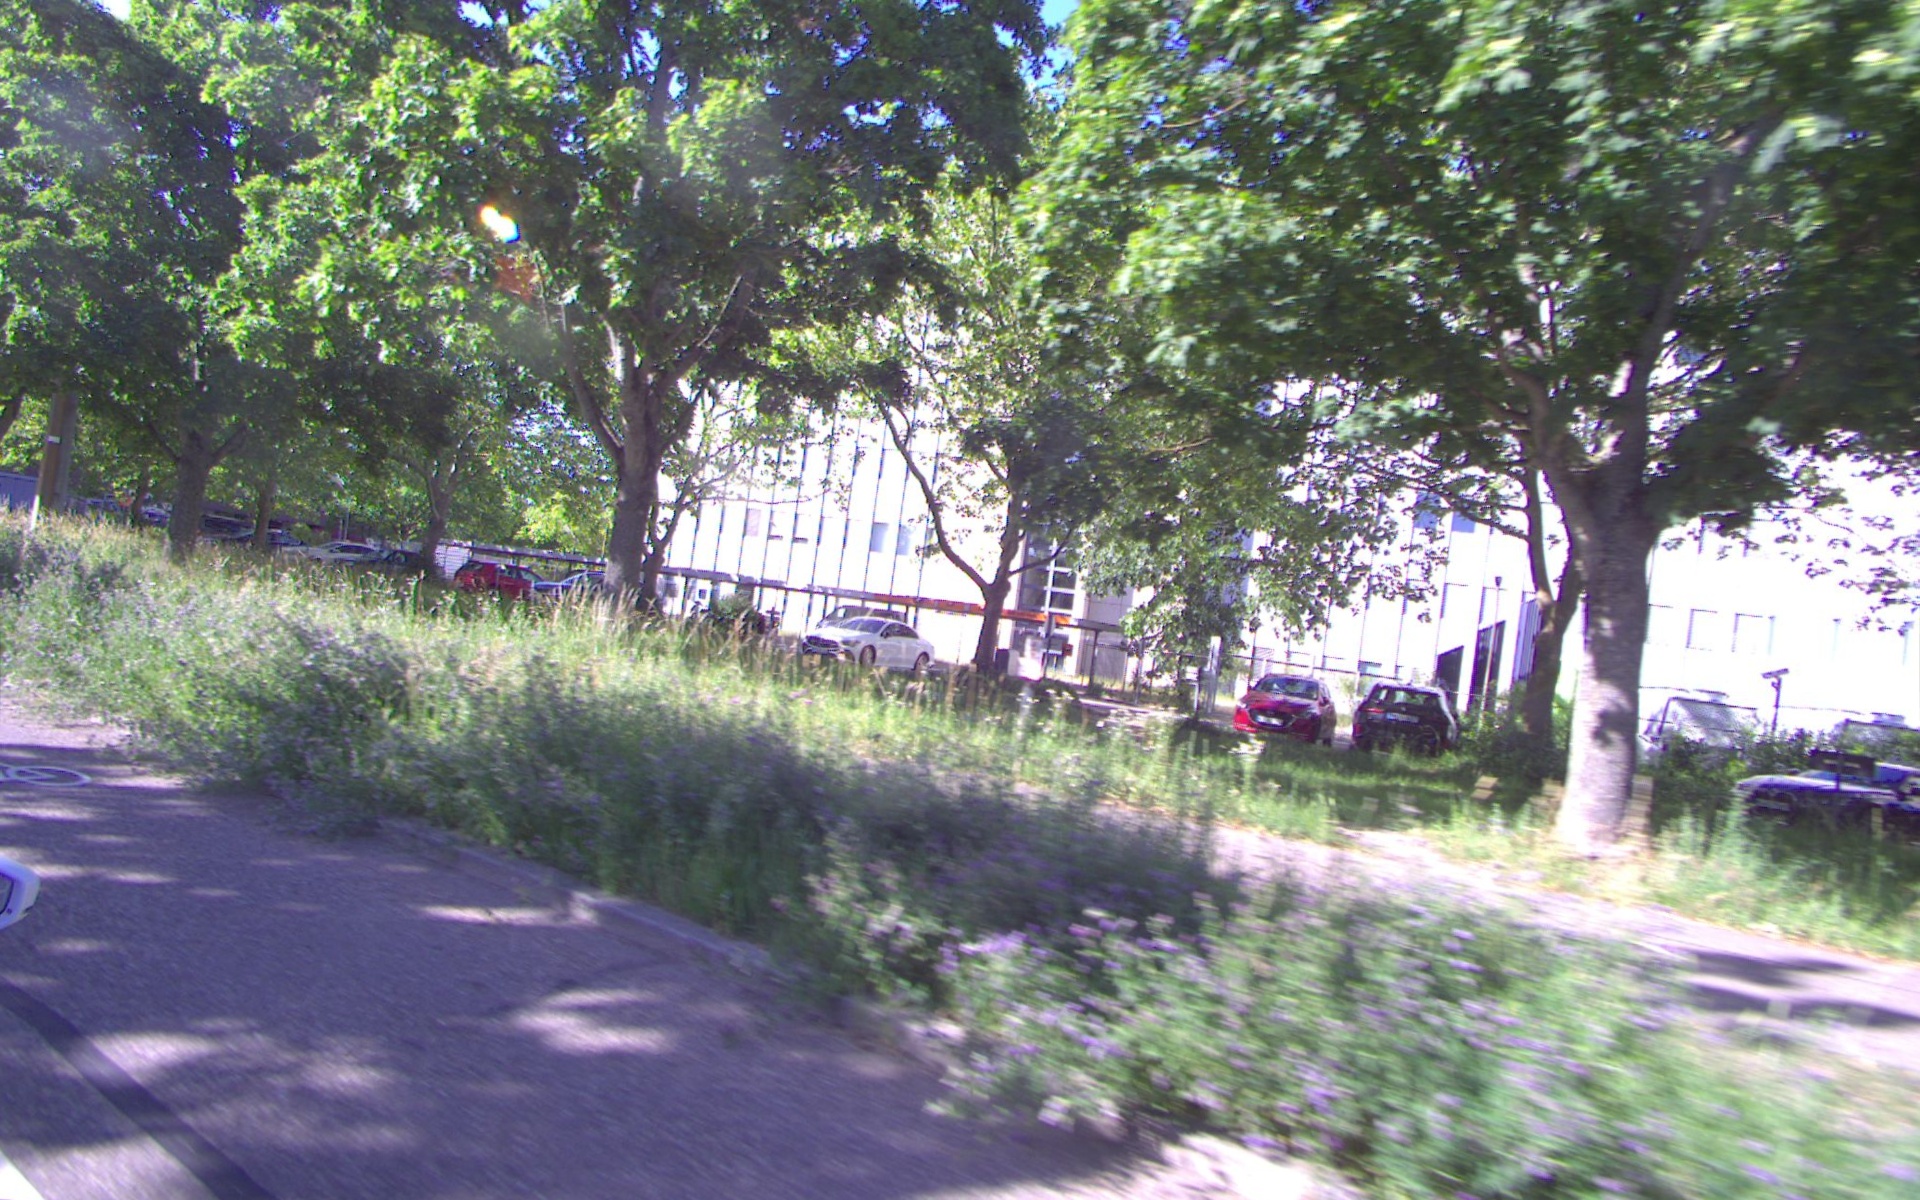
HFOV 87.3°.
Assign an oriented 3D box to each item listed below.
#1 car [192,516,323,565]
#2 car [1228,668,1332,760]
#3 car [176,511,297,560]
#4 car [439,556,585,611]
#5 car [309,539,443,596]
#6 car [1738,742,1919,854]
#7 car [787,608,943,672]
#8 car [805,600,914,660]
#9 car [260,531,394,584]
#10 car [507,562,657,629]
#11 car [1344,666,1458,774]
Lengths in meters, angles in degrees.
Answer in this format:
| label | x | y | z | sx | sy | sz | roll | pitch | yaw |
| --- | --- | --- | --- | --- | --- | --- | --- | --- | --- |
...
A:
| label | x | y | z | sx | sy | sz | roll | pitch | yaw |
| --- | --- | --- | --- | --- | --- | --- | --- | --- | --- |
| car | -31.086 | -2.609 | 44.640 | 1.662 | 1.476 | 4.362 | 7 | -2 | 34 |
| car | 6.986 | 2.359 | 21.717 | 1.733 | 1.554 | 4.245 | 7 | -1 | 21 |
| car | -32.883 | -2.909 | 45.850 | 1.709 | 1.523 | 4.038 | 7 | -2 | 31 |
| car | -15.929 | -0.564 | 35.942 | 1.909 | 1.340 | 4.296 | 8 | -1 | 35 |
| car | -22.050 | -1.195 | 38.150 | 1.676 | 1.543 | 4.005 | 7 | -2 | 27 |
| car | 15.181 | 3.330 | 16.597 | 3.929 | 1.356 | 1.703 | 8 | -2 | -17 |
| car | -2.443 | 1.137 | 27.240 | 1.776 | 1.286 | 4.708 | 8 | -1 | 28 |
| car | -4.132 | 1.301 | 42.024 | 1.941 | 1.973 | 4.759 | 7 | -1 | 30 |
| car | -25.911 | -1.722 | 41.321 | 1.795 | 1.448 | 4.172 | 6 | -3 | 33 |
| car | -12.297 | -0.097 | 33.043 | 1.851 | 1.615 | 4.404 | 7 | -2 | 27 |
| car | 8.857 | 2.321 | 20.499 | 1.733 | 1.720 | 4.349 | 7 | -1 | 21 |
